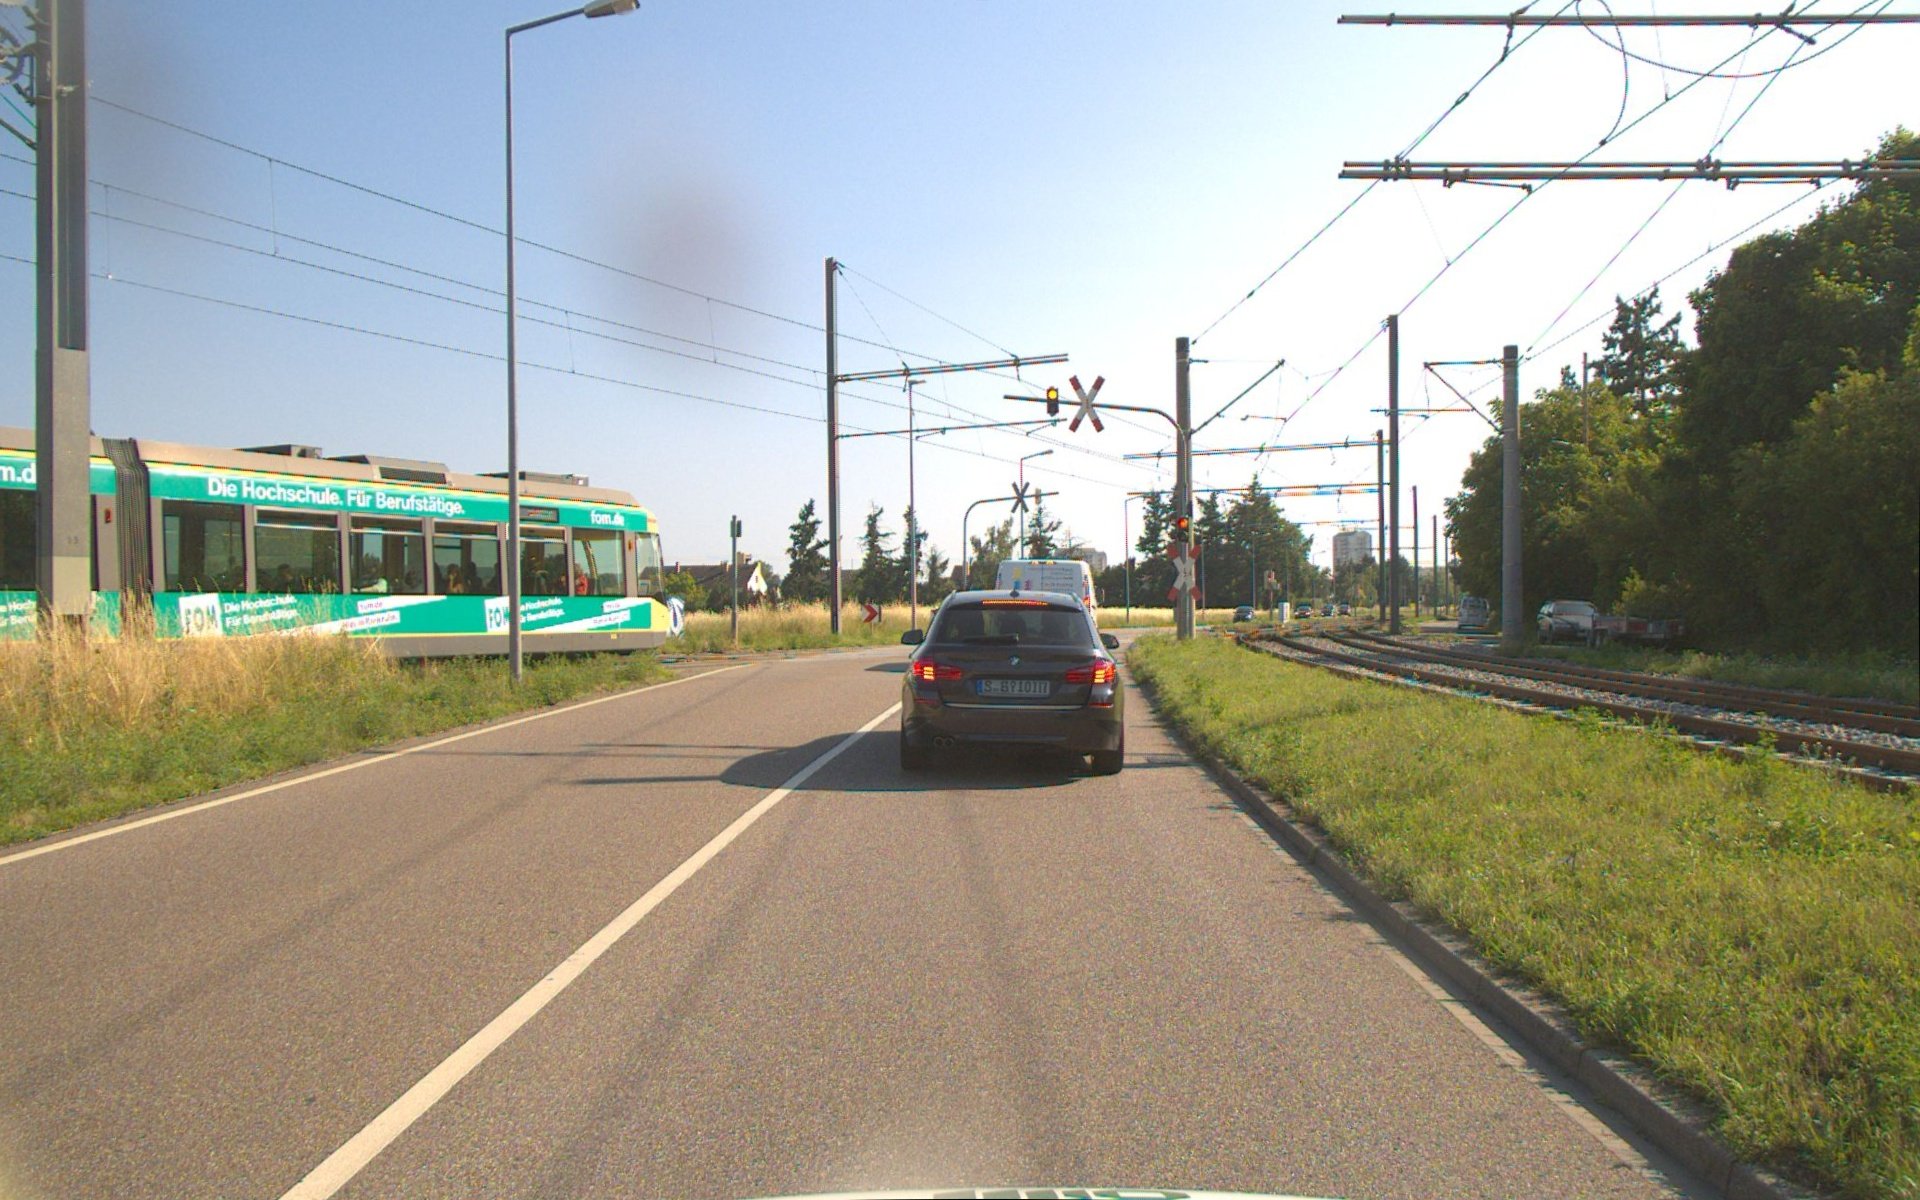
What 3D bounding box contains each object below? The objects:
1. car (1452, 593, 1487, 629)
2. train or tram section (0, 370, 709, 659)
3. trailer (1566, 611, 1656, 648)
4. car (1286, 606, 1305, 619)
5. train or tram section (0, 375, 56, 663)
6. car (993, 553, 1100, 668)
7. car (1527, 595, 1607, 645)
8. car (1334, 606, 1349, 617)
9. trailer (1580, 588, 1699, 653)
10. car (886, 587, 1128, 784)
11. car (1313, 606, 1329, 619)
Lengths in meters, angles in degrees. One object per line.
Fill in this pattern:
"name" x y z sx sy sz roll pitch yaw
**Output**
"car" 31.284 0.676 101.584 1.952 2.039 5.070 2 0 17
"train or tram section" -9.537 -0.876 27.949 2.849 3.631 14.246 1 -2 26
"trailer" 19.338 0.864 49.259 1.694 0.956 3.731 3 0 9
"car" 38.576 1.407 189.980 1.657 1.465 4.286 1 0 17
"train or tram section" -15.439 -1.106 16.063 2.861 3.514 12.150 1 -1 27
"car" 1.747 0.191 31.812 1.818 2.023 5.111 0 0 5
"car" 19.761 0.615 54.021 1.662 1.482 4.885 2 1 11
"car" 55.028 1.681 238.373 1.677 1.576 3.929 0 0 20
"trailer" 18.532 0.536 45.290 1.983 1.624 4.263 2 0 8
"car" 0.415 0.628 14.901 1.830 1.478 4.745 0 0 1
"car" 47.957 1.621 219.497 1.670 1.694 4.592 0 0 18
